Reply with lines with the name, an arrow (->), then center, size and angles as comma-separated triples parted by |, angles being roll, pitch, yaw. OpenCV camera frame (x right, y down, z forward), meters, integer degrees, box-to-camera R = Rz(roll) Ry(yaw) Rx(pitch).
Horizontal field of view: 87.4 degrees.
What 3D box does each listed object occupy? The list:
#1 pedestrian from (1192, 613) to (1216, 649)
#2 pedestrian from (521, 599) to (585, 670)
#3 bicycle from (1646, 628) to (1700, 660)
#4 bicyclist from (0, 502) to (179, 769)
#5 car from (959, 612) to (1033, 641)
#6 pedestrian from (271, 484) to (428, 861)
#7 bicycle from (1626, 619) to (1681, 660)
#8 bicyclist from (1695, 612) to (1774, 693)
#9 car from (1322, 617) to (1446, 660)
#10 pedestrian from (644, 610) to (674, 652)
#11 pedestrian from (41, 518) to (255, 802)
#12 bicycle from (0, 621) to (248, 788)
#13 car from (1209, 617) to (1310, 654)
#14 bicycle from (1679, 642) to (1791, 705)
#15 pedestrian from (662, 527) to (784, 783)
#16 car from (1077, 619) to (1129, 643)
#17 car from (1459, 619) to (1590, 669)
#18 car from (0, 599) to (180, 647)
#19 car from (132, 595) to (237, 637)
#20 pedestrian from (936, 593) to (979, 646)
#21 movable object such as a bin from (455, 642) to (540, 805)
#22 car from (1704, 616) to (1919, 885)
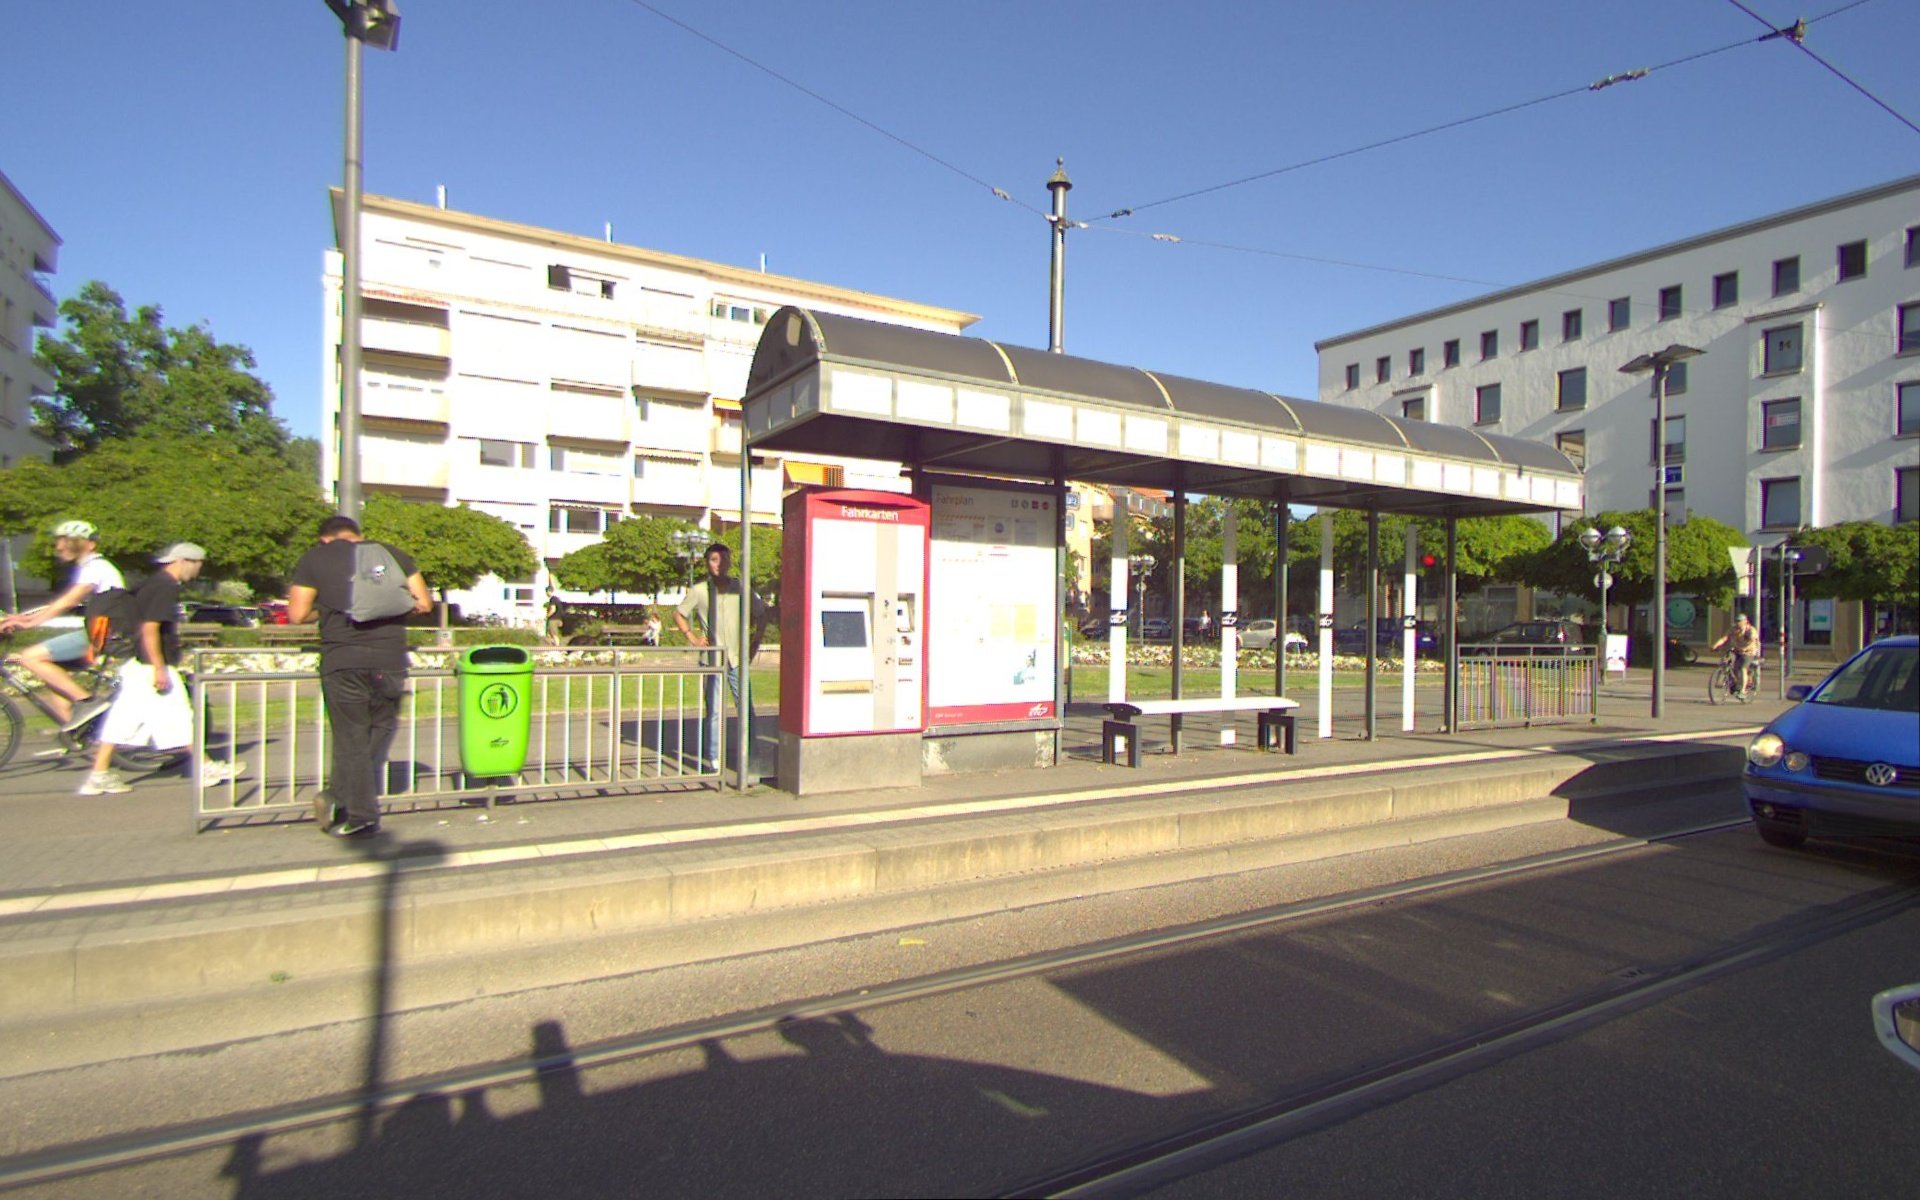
pedestrian -> 12.588, 1.599, 51.837 | 0.856, 1.841, 0.944 | 1, -1, -19
pedestrian -> -10.674, 0.892, 26.370 | 1.153, 1.811, 1.082 | 1, 0, 4
bicycle -> 28.373, 1.754, 39.962 | 2.586, 1.206, 0.615 | 1, -1, -27
bicyclist -> -6.516, 0.252, 7.467 | 1.086, 1.817, 0.996 | 1, -1, -38
car -> 1.769, 1.328, 49.587 | 3.271, 1.372, 1.638 | 1, -1, -29
pedestrian -> -3.028, 0.347, 5.037 | 0.599, 1.740, 0.546 | 1, -3, -28
bicycle -> 28.047, 1.601, 40.606 | 2.585, 1.628, 0.616 | 1, -1, -26
bicyclist -> 14.721, 0.986, 19.115 | 0.863, 1.475, 0.826 | 2, 0, -19
car -> 18.028, 1.589, 42.932 | 1.978, 1.684, 4.581 | 1, -1, -31
pedestrian -> -10.095, 1.036, 33.703 | 0.673, 1.378, 1.042 | 1, -1, -34
pedestrian -> -5.429, 0.381, 6.721 | 0.982, 1.702, 0.969 | -1, -2, 43
bicycle -> -6.558, 0.736, 7.466 | 2.018, 1.141, 0.706 | 1, -1, -39
car -> 14.267, 1.678, 48.025 | 1.835, 1.628, 4.581 | 1, -1, -31
bicycle -> 14.754, 1.396, 19.129 | 1.946, 1.128, 0.727 | 1, 0, -18
pedestrian -> -1.775, 0.406, 7.511 | 0.760, 1.797, 0.613 | 1, -3, -28
car -> 9.571, 2.048, 67.159 | 1.887, 1.514, 4.343 | 1, 0, 31
car -> 21.230, 1.603, 37.943 | 1.804, 1.728, 3.968 | 1, -1, -30
car -> -25.210, 0.675, 29.248 | 3.672, 1.318, 1.984 | 1, -1, -30
car -> -28.711, 0.603, 37.284 | 2.899, 1.506, 1.407 | 1, -1, -30
pedestrian -> -0.114, 0.772, 39.515 | 1.219, 2.040, 1.214 | 1, -1, -30
movable object such as a bin -> -2.609, 0.676, 5.664 | 0.411, 0.871, 0.335 | 1, -1, -27
car -> 6.986, 0.889, 6.886 | 3.954, 1.507, 1.659 | 1, -1, -31
